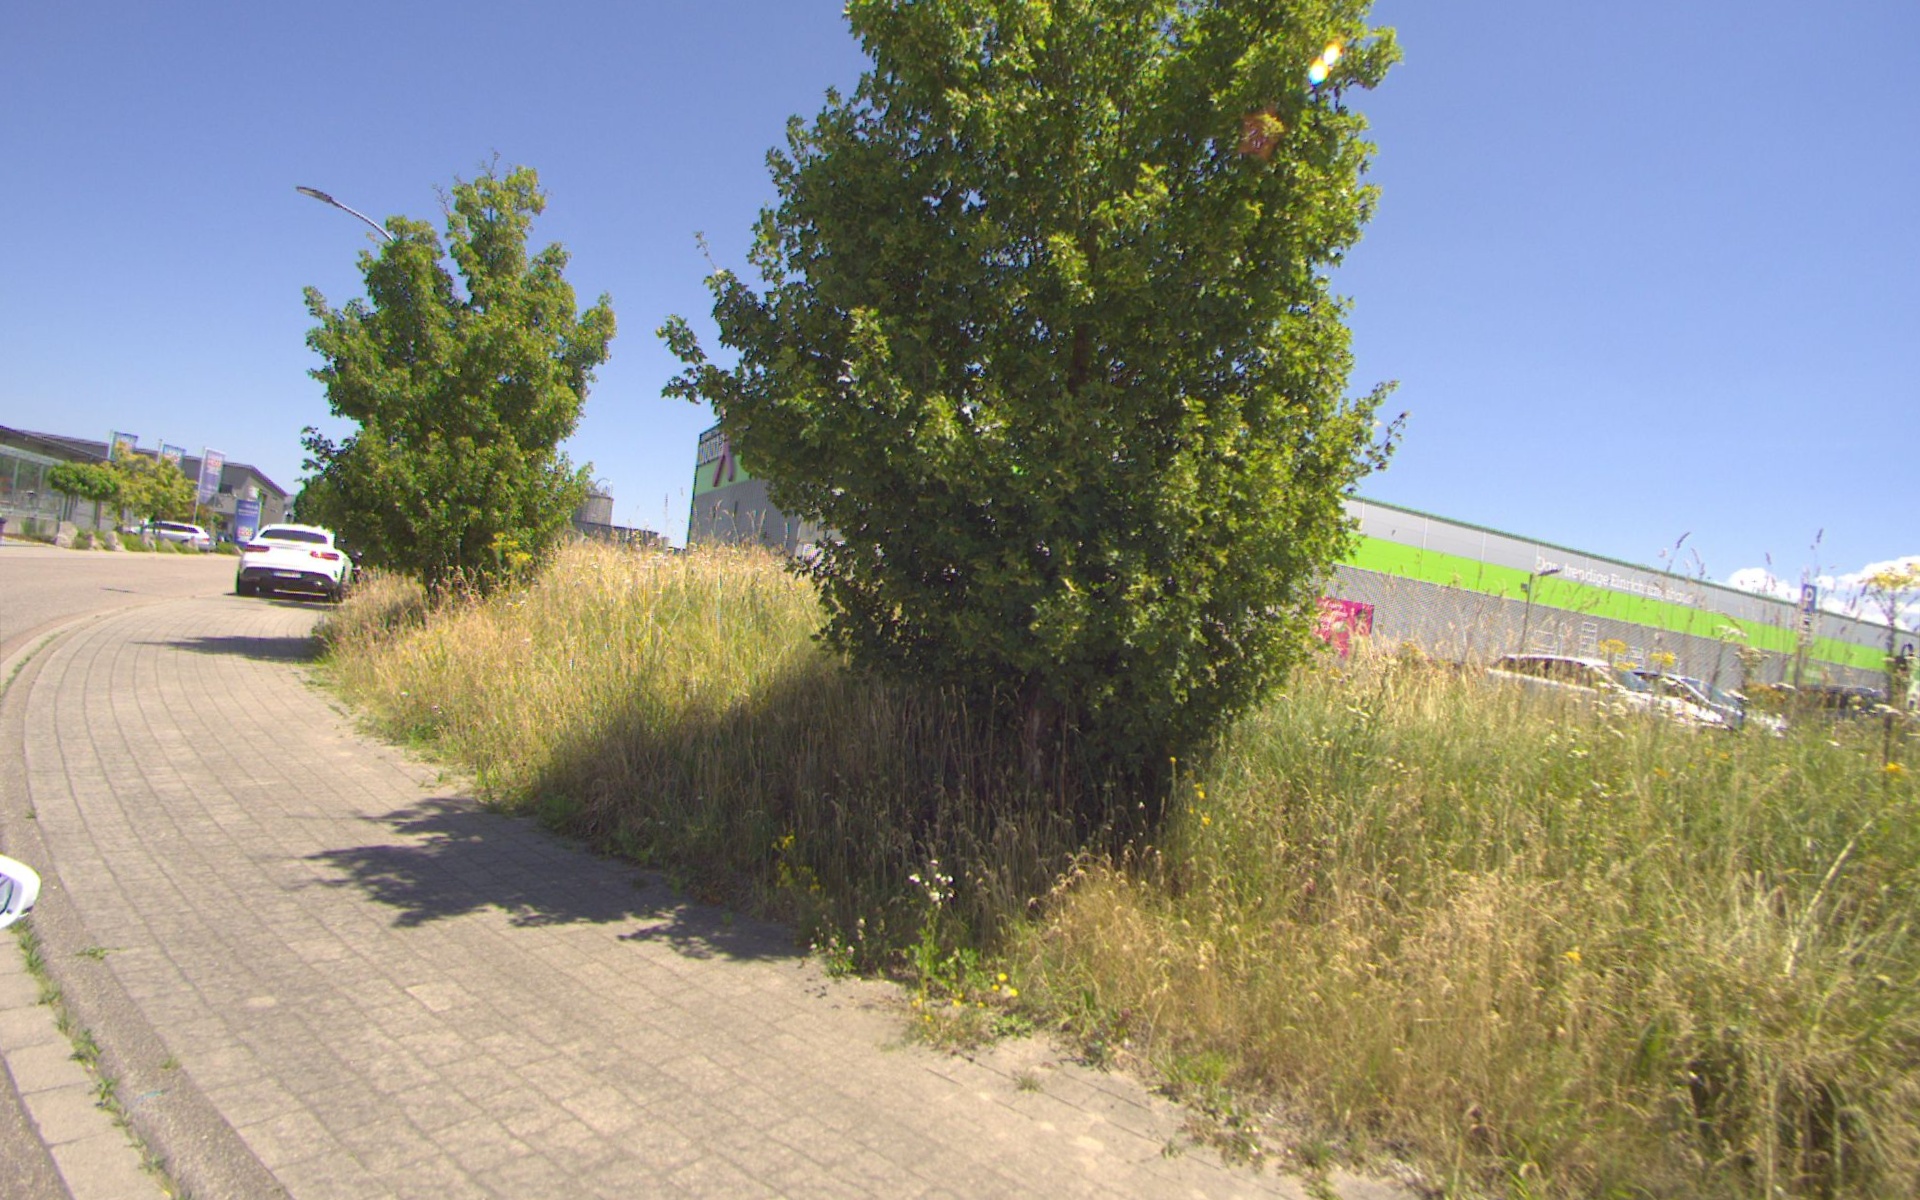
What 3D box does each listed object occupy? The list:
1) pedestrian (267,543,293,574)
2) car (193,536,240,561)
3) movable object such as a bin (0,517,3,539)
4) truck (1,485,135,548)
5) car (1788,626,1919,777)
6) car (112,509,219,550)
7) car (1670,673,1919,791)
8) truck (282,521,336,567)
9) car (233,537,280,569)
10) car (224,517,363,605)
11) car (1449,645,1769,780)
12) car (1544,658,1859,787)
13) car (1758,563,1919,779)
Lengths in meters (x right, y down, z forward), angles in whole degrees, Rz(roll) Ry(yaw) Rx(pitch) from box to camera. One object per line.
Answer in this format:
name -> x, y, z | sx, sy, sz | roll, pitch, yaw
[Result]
pedestrian -> -38.155, -2.313, 56.460 | 0.891, 1.592, 0.781 | 9, -2, -26
car -> -56.206, -3.842, 76.156 | 1.916, 1.432, 4.740 | 9, -3, -27
movable object such as a bin -> -28.360, -1.998, 29.266 | 0.567, 0.961, 0.508 | 8, -1, -32
truck -> -69.874, -6.517, 78.869 | 7.914, 3.597, 2.589 | 8, -1, 2
car -> 15.425, 1.663, 14.902 | 1.931, 2.170, 4.372 | 7, -2, -28
car -> -43.816, -3.852, 55.621 | 4.228, 1.535, 1.854 | 8, -2, -28
car -> 18.192, 2.762, 21.544 | 1.976, 1.889, 4.374 | 7, -2, -27
truck -> -47.320, -3.976, 73.292 | 2.339, 2.895, 6.377 | 5, -1, -26
car -> -53.586, -3.544, 76.717 | 1.977, 1.979, 5.186 | 8, -2, -27
car -> -15.931, -0.915, 24.327 | 2.124, 1.719, 4.754 | 6, -1, -27
car -> 11.472, 1.935, 18.140 | 1.931, 1.807, 4.372 | 7, -2, -28
car -> 13.968, 2.252, 19.262 | 1.916, 1.807, 4.374 | 7, -2, -27
car -> 13.483, 1.023, 12.777 | 1.973, 2.775, 4.729 | 7, -2, -23
